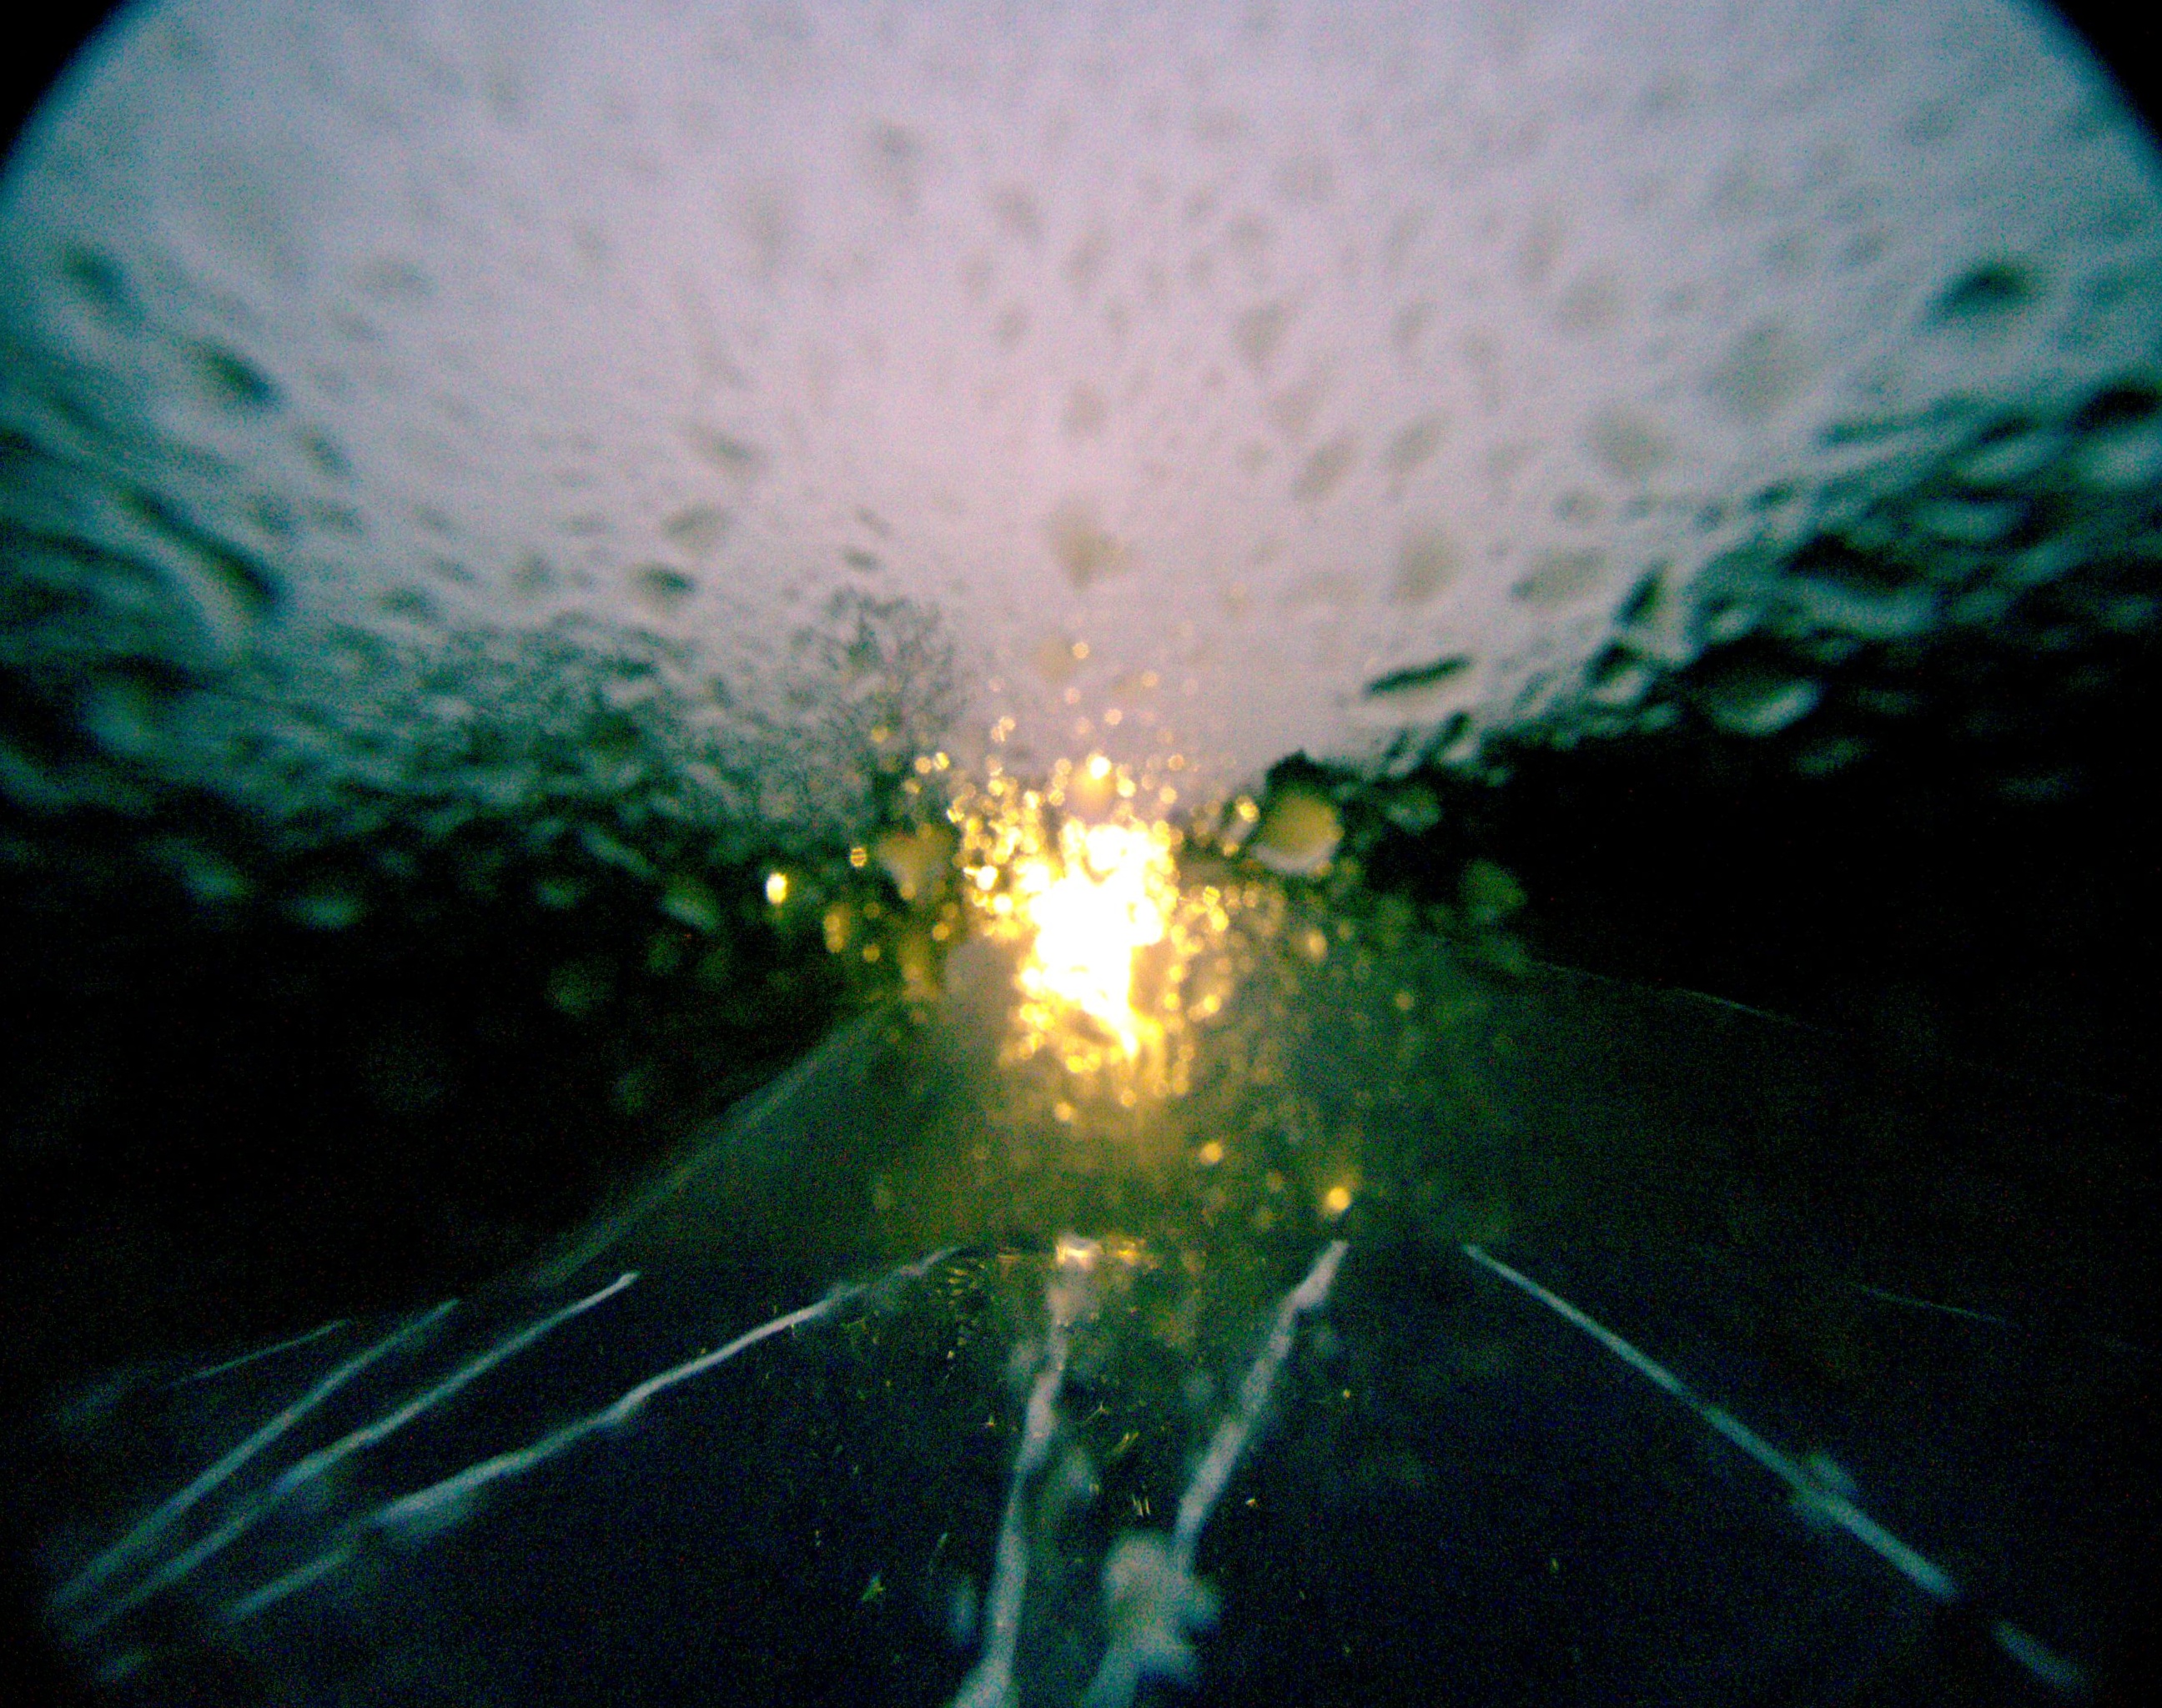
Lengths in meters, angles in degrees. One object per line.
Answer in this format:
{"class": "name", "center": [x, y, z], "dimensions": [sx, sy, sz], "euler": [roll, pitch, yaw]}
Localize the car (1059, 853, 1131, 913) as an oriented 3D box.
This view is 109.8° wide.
{"class": "car", "center": [0.470, 0.817, 23.817], "dimensions": [1.998, 1.601, 4.000], "euler": [-2, 1, 2]}
